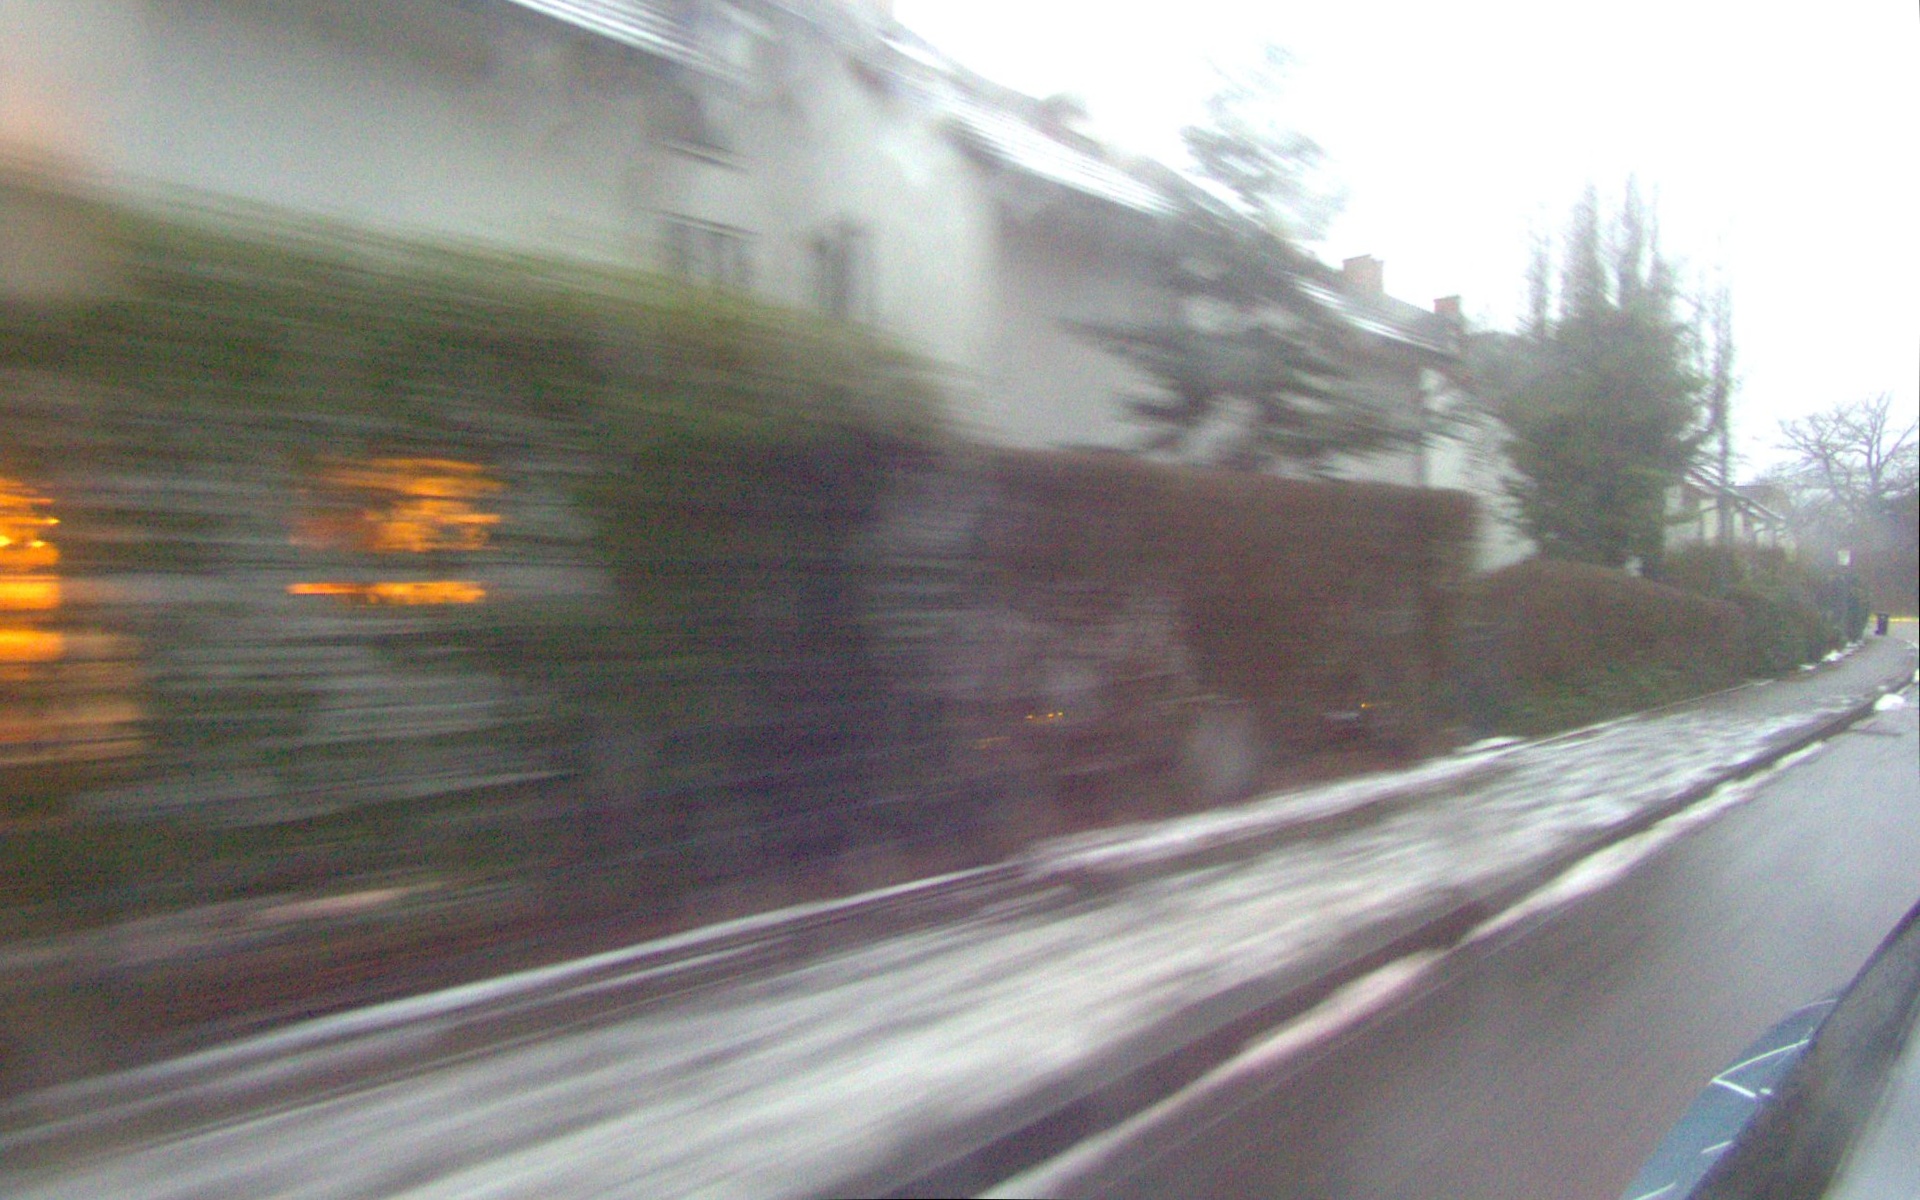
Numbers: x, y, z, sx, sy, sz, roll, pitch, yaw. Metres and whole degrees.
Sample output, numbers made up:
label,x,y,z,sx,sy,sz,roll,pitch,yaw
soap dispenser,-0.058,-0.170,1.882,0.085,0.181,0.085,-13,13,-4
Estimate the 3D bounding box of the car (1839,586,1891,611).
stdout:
label,x,y,z,sx,sy,sz,roll,pitch,yaw
car,55.488,-0.088,62.128,1.731,1.447,4.403,-1,0,34
